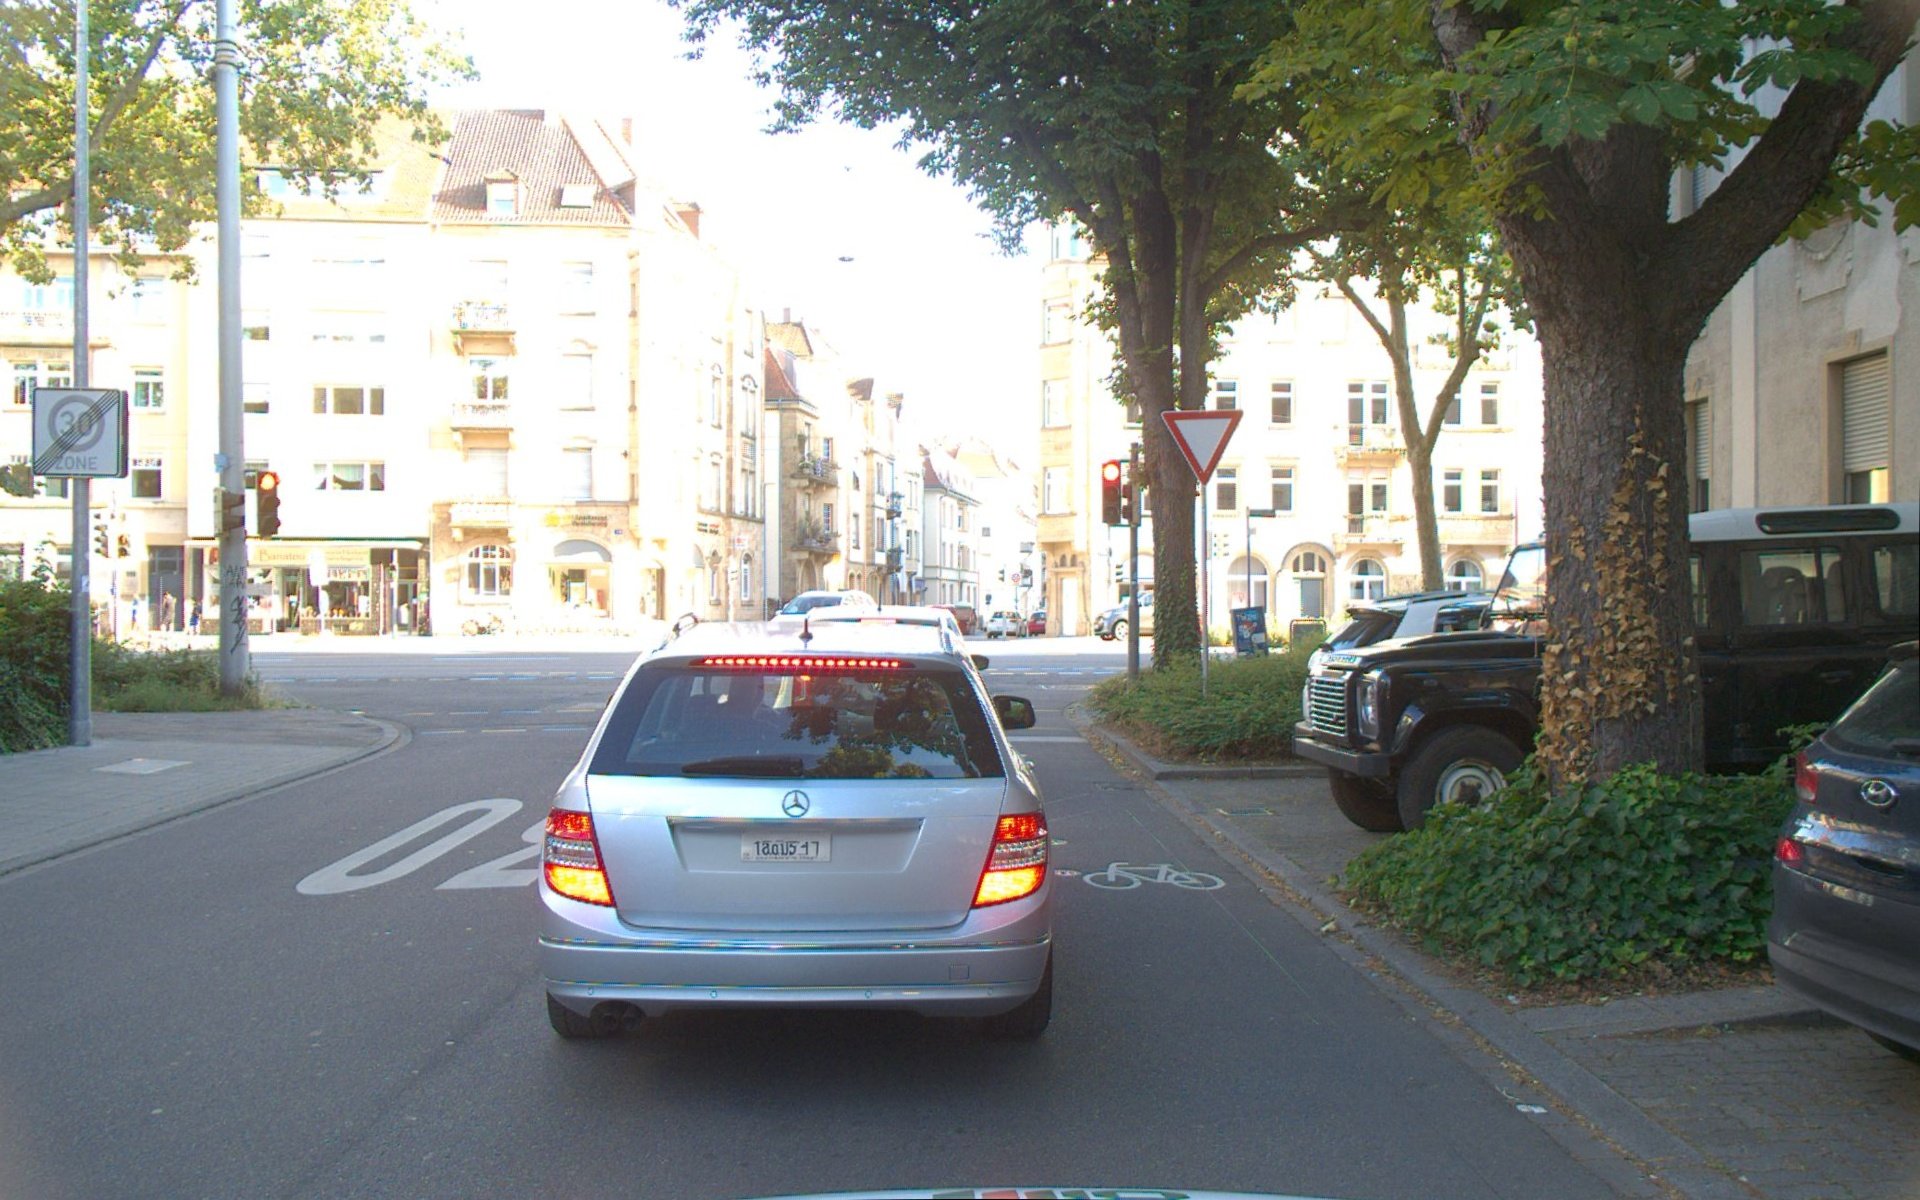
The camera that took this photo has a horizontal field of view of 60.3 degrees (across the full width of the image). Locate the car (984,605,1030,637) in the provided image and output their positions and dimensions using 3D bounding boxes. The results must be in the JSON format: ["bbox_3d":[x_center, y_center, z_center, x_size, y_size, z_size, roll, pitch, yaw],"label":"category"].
[{"bbox_3d":[2.475,1.061,85.929,1.684,1.504,4.004,-2,0,11],"label":"car"}]

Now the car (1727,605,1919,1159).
[{"bbox_3d":[4.333,0.686,4.550,3.675,1.446,1.627,-2,-1,-4],"label":"car"}]

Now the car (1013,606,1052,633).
[{"bbox_3d":[4.483,1.190,102.122,1.684,1.503,4.004,-4,0,11],"label":"car"}]

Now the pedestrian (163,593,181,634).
[{"bbox_3d":[-29.790,0.523,62.532,0.557,1.537,0.499,0,0,-20],"label":"pedestrian"}]

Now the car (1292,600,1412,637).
[{"bbox_3d":[11.832,0.560,50.000,3.296,1.087,1.380,0,0,-2],"label":"car"}]

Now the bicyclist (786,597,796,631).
[{"bbox_3d":[-7.497,0.618,73.364,0.457,1.541,0.655,0,0,-4],"label":"bicyclist"}]

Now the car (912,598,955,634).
[{"bbox_3d":[-1.474,0.895,93.325,1.896,1.993,4.153,0,0,7],"label":"car"}]

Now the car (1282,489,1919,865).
[{"bbox_3d":[4.418,0.399,10.240,4.402,1.990,1.791,-2,0,-4],"label":"car"}]

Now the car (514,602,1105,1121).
[{"bbox_3d":[-0.519,0.756,6.474,1.657,1.454,3.490,1,0,-3],"label":"car"}]

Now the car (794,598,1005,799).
[{"bbox_3d":[-0.505,0.707,13.672,1.502,1.415,3.597,0,0,-2],"label":"car"}]

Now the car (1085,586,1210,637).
[{"bbox_3d":[5.777,0.340,51.102,3.519,1.527,1.615,0,1,-13],"label":"car"}]

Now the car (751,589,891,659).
[{"bbox_3d":[-3.159,0.501,38.550,1.743,1.487,4.302,0,1,18],"label":"car"}]

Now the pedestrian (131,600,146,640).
[{"bbox_3d":[-31.707,0.754,63.816,0.502,1.537,0.532,0,0,-28],"label":"pedestrian"}]

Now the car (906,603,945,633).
[{"bbox_3d":[-2.117,1.100,102.381,1.615,1.814,3.866,0,-1,10],"label":"car"}]

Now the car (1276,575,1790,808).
[{"bbox_3d":[4.416,0.656,13.026,3.415,1.614,1.708,-1,0,-7],"label":"car"}]

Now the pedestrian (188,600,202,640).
[{"bbox_3d":[-29.427,0.751,63.622,0.466,1.537,0.428,0,0,-21],"label":"pedestrian"}]
